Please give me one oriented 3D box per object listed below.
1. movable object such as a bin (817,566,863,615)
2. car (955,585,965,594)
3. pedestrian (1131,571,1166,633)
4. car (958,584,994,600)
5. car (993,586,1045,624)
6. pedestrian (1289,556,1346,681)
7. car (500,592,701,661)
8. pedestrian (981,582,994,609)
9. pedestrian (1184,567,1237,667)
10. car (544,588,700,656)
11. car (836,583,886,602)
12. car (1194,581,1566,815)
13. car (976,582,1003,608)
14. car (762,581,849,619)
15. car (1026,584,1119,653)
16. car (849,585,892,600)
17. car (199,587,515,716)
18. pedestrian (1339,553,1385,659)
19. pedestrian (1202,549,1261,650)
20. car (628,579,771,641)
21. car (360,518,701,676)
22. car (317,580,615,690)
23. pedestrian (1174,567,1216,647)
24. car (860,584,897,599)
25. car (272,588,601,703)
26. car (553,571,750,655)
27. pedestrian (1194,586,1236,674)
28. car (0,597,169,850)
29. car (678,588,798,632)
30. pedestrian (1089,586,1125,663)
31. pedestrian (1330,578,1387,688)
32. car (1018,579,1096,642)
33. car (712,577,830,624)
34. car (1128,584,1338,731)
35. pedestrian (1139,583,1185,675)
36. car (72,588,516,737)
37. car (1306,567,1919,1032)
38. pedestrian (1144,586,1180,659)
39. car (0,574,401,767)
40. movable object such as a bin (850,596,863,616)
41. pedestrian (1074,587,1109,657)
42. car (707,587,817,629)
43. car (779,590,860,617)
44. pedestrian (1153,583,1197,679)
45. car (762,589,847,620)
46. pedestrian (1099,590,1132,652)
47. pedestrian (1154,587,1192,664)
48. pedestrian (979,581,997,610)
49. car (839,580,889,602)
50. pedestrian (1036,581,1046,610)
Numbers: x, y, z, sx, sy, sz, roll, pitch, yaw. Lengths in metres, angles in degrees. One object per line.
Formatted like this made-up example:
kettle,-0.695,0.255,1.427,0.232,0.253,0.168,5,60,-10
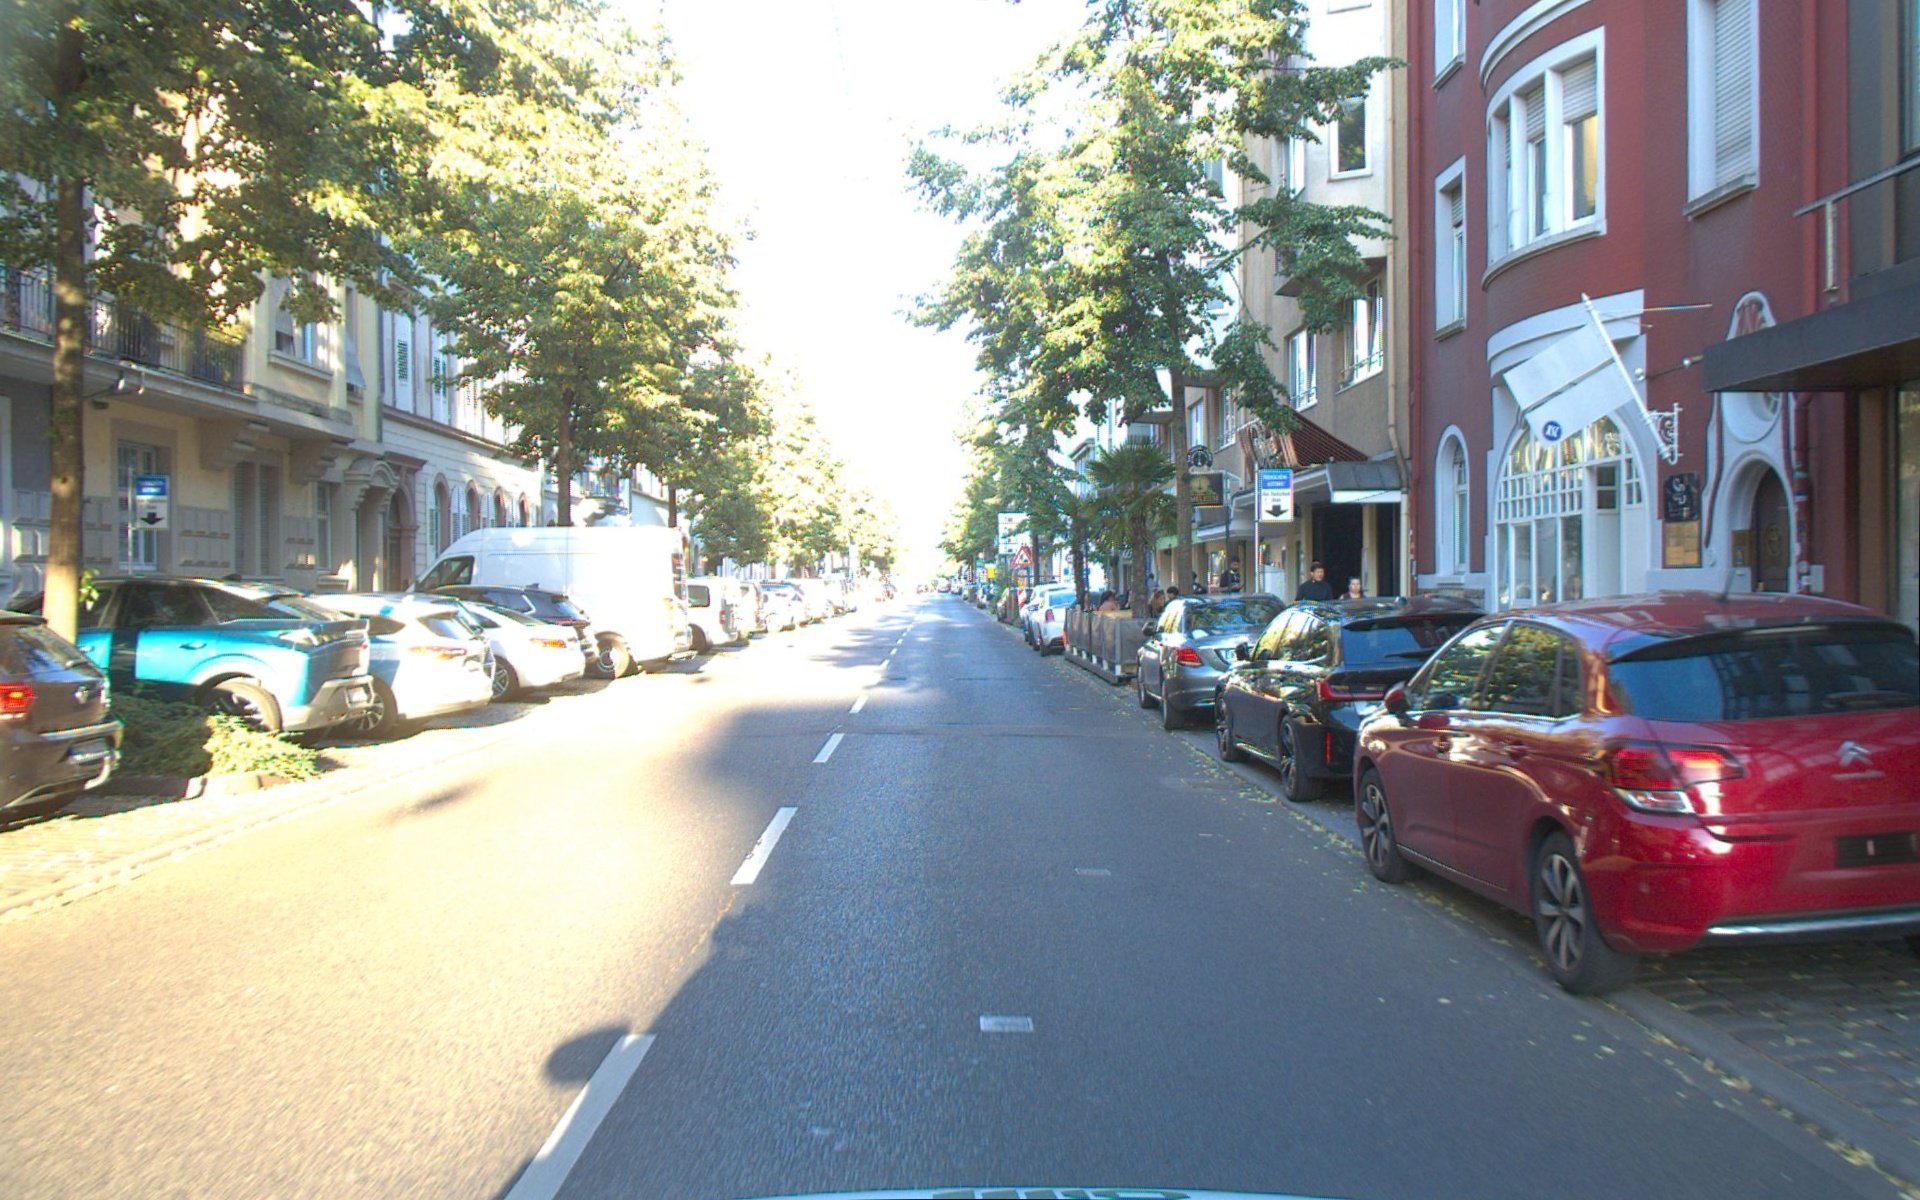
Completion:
movable object such as a bin,-7.523,-0.580,104.424,2.571,3.021,5.302,0,0,-1
car,-0.032,-1.589,249.025,1.482,1.298,3.303,0,0,0
pedestrian,5.646,0.058,49.563,0.839,1.825,0.996,-2,0,-4
car,1.672,-0.837,169.588,1.645,1.616,3.801,0,0,42
car,2.515,0.197,71.630,1.792,1.514,4.847,-3,0,-3
pedestrian,4.997,0.254,23.135,0.611,1.706,0.640,-2,0,0
car,-7.592,0.562,35.170,3.907,1.429,1.749,0,-1,-3
pedestrian,1.846,-0.309,110.001,0.665,1.785,0.823,-1,0,-11
pedestrian,4.236,0.281,28.031,0.693,1.626,0.795,-3,0,-1
car,-7.696,0.492,37.894,3.303,1.492,1.711,1,0,-5
car,-9.208,-0.689,153.604,4.478,1.727,2.060,0,0,0
car,3.176,0.654,13.471,1.739,1.496,4.416,-3,0,-2
car,2.011,-0.350,113.028,1.652,1.602,4.012,-3,0,-1
car,-8.194,-0.018,88.016,4.392,2.010,2.068,0,0,0
car,2.705,0.416,40.905,1.804,1.506,5.189,-3,0,-1
car,-9.467,-0.799,175.171,4.351,1.595,1.919,0,0,0
car,-7.659,0.620,21.248,3.336,1.536,1.847,1,0,2
pedestrian,7.452,0.109,30.656,0.782,1.916,0.879,-1,2,14
pedestrian,5.271,-0.020,32.081,0.785,1.916,0.875,-1,2,34
car,-7.944,0.295,50.650,4.053,1.838,1.807,-1,0,1
car,-7.627,-0.054,29.825,5.543,2.667,2.171,1,0,-1
car,-7.787,0.531,26.355,4.126,1.628,1.975,1,0,0
pedestrian,5.233,0.151,36.812,0.772,1.734,0.700,-2,0,-1
car,-9.753,-1.048,199.066,4.351,1.790,1.919,0,0,0
car,-7.412,0.621,23.723,4.127,1.532,1.792,1,0,-1
car,-7.488,0.299,40.414,4.407,1.987,1.919,0,0,1
pedestrian,4.038,0.470,26.184,0.536,1.368,0.438,-3,0,-1
car,-7.418,0.702,10.598,3.837,1.474,1.696,1,0,-4
car,-7.703,0.332,57.647,3.978,1.487,1.684,-1,0,-4
pedestrian,2.786,0.458,31.327,0.565,1.409,0.603,-3,0,-1
pedestrian,5.659,0.458,23.514,0.611,1.514,0.640,-2,0,0
car,2.689,0.260,46.844,1.841,1.601,4.691,-3,0,0
car,-8.021,0.021,70.554,4.771,1.941,1.973,-1,0,-1
car,3.159,0.594,20.094,1.738,1.465,5.001,-3,0,1
pedestrian,3.417,0.482,28.005,0.618,1.511,0.795,-3,0,-1
car,-7.248,0.650,18.351,4.101,1.508,1.970,1,0,-2
car,3.119,0.663,8.082,1.688,1.518,4.751,-3,0,-2
pedestrian,4.013,0.449,32.906,0.565,1.409,0.603,-3,0,-1
car,-7.617,0.614,15.491,4.148,1.679,1.891,1,0,-5
movable object such as a bin,-6.133,0.346,98.477,0.675,1.124,0.883,-1,0,1
pedestrian,2.621,0.430,33.019,0.565,1.342,0.704,-3,0,-1
car,-7.471,0.301,62.742,3.955,1.509,1.962,-1,0,-1
car,-8.195,0.199,96.450,4.499,1.495,1.893,0,0,2
pedestrian,3.443,0.491,26.524,0.565,1.488,0.603,-3,0,-1
car,-7.868,0.230,83.874,4.242,1.527,1.840,0,0,-6
pedestrian,3.257,0.427,34.622,0.565,1.265,0.603,-3,0,-1
pedestrian,4.022,0.481,31.232,0.565,1.409,0.718,-3,0,-1
pedestrian,1.811,-0.304,107.347,0.995,1.857,0.778,-3,0,-11
car,-8.755,-0.828,150.955,4.479,1.996,1.990,0,0,-1
pedestrian,5.407,-0.288,110.535,0.452,1.908,0.499,-1,0,-16
